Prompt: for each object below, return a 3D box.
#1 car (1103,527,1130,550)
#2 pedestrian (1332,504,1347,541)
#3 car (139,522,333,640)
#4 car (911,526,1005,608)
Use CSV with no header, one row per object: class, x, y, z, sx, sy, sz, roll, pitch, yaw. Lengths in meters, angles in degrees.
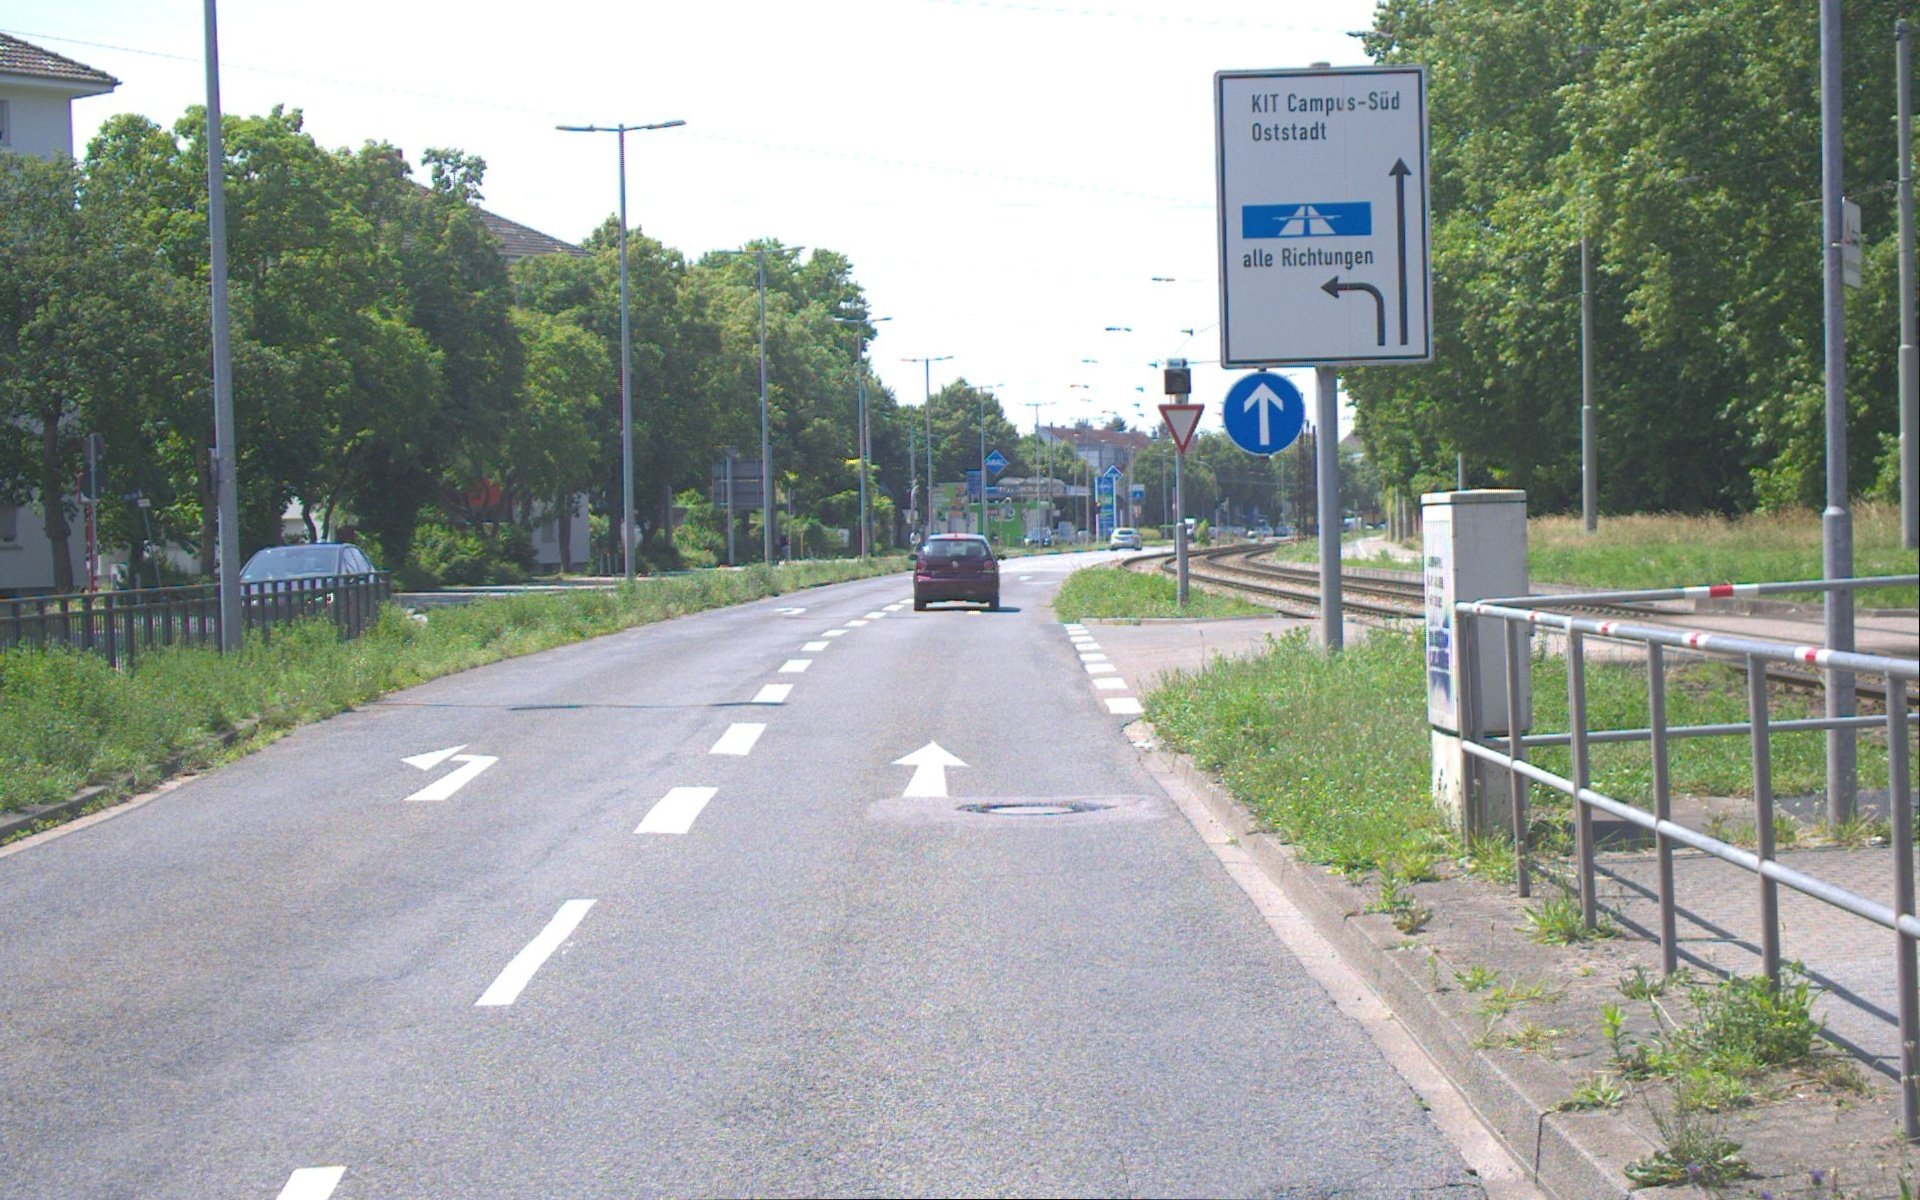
car,10.265,-4.051,225.731,1.703,1.475,3.716,0,1,3
pedestrian,17.947,-3.663,162.663,0.662,1.720,0.816,-1,1,7
car,-10.202,-0.310,48.717,1.756,1.538,4.161,-2,1,1
car,-0.012,-0.639,66.121,1.703,1.472,3.716,-2,1,1
